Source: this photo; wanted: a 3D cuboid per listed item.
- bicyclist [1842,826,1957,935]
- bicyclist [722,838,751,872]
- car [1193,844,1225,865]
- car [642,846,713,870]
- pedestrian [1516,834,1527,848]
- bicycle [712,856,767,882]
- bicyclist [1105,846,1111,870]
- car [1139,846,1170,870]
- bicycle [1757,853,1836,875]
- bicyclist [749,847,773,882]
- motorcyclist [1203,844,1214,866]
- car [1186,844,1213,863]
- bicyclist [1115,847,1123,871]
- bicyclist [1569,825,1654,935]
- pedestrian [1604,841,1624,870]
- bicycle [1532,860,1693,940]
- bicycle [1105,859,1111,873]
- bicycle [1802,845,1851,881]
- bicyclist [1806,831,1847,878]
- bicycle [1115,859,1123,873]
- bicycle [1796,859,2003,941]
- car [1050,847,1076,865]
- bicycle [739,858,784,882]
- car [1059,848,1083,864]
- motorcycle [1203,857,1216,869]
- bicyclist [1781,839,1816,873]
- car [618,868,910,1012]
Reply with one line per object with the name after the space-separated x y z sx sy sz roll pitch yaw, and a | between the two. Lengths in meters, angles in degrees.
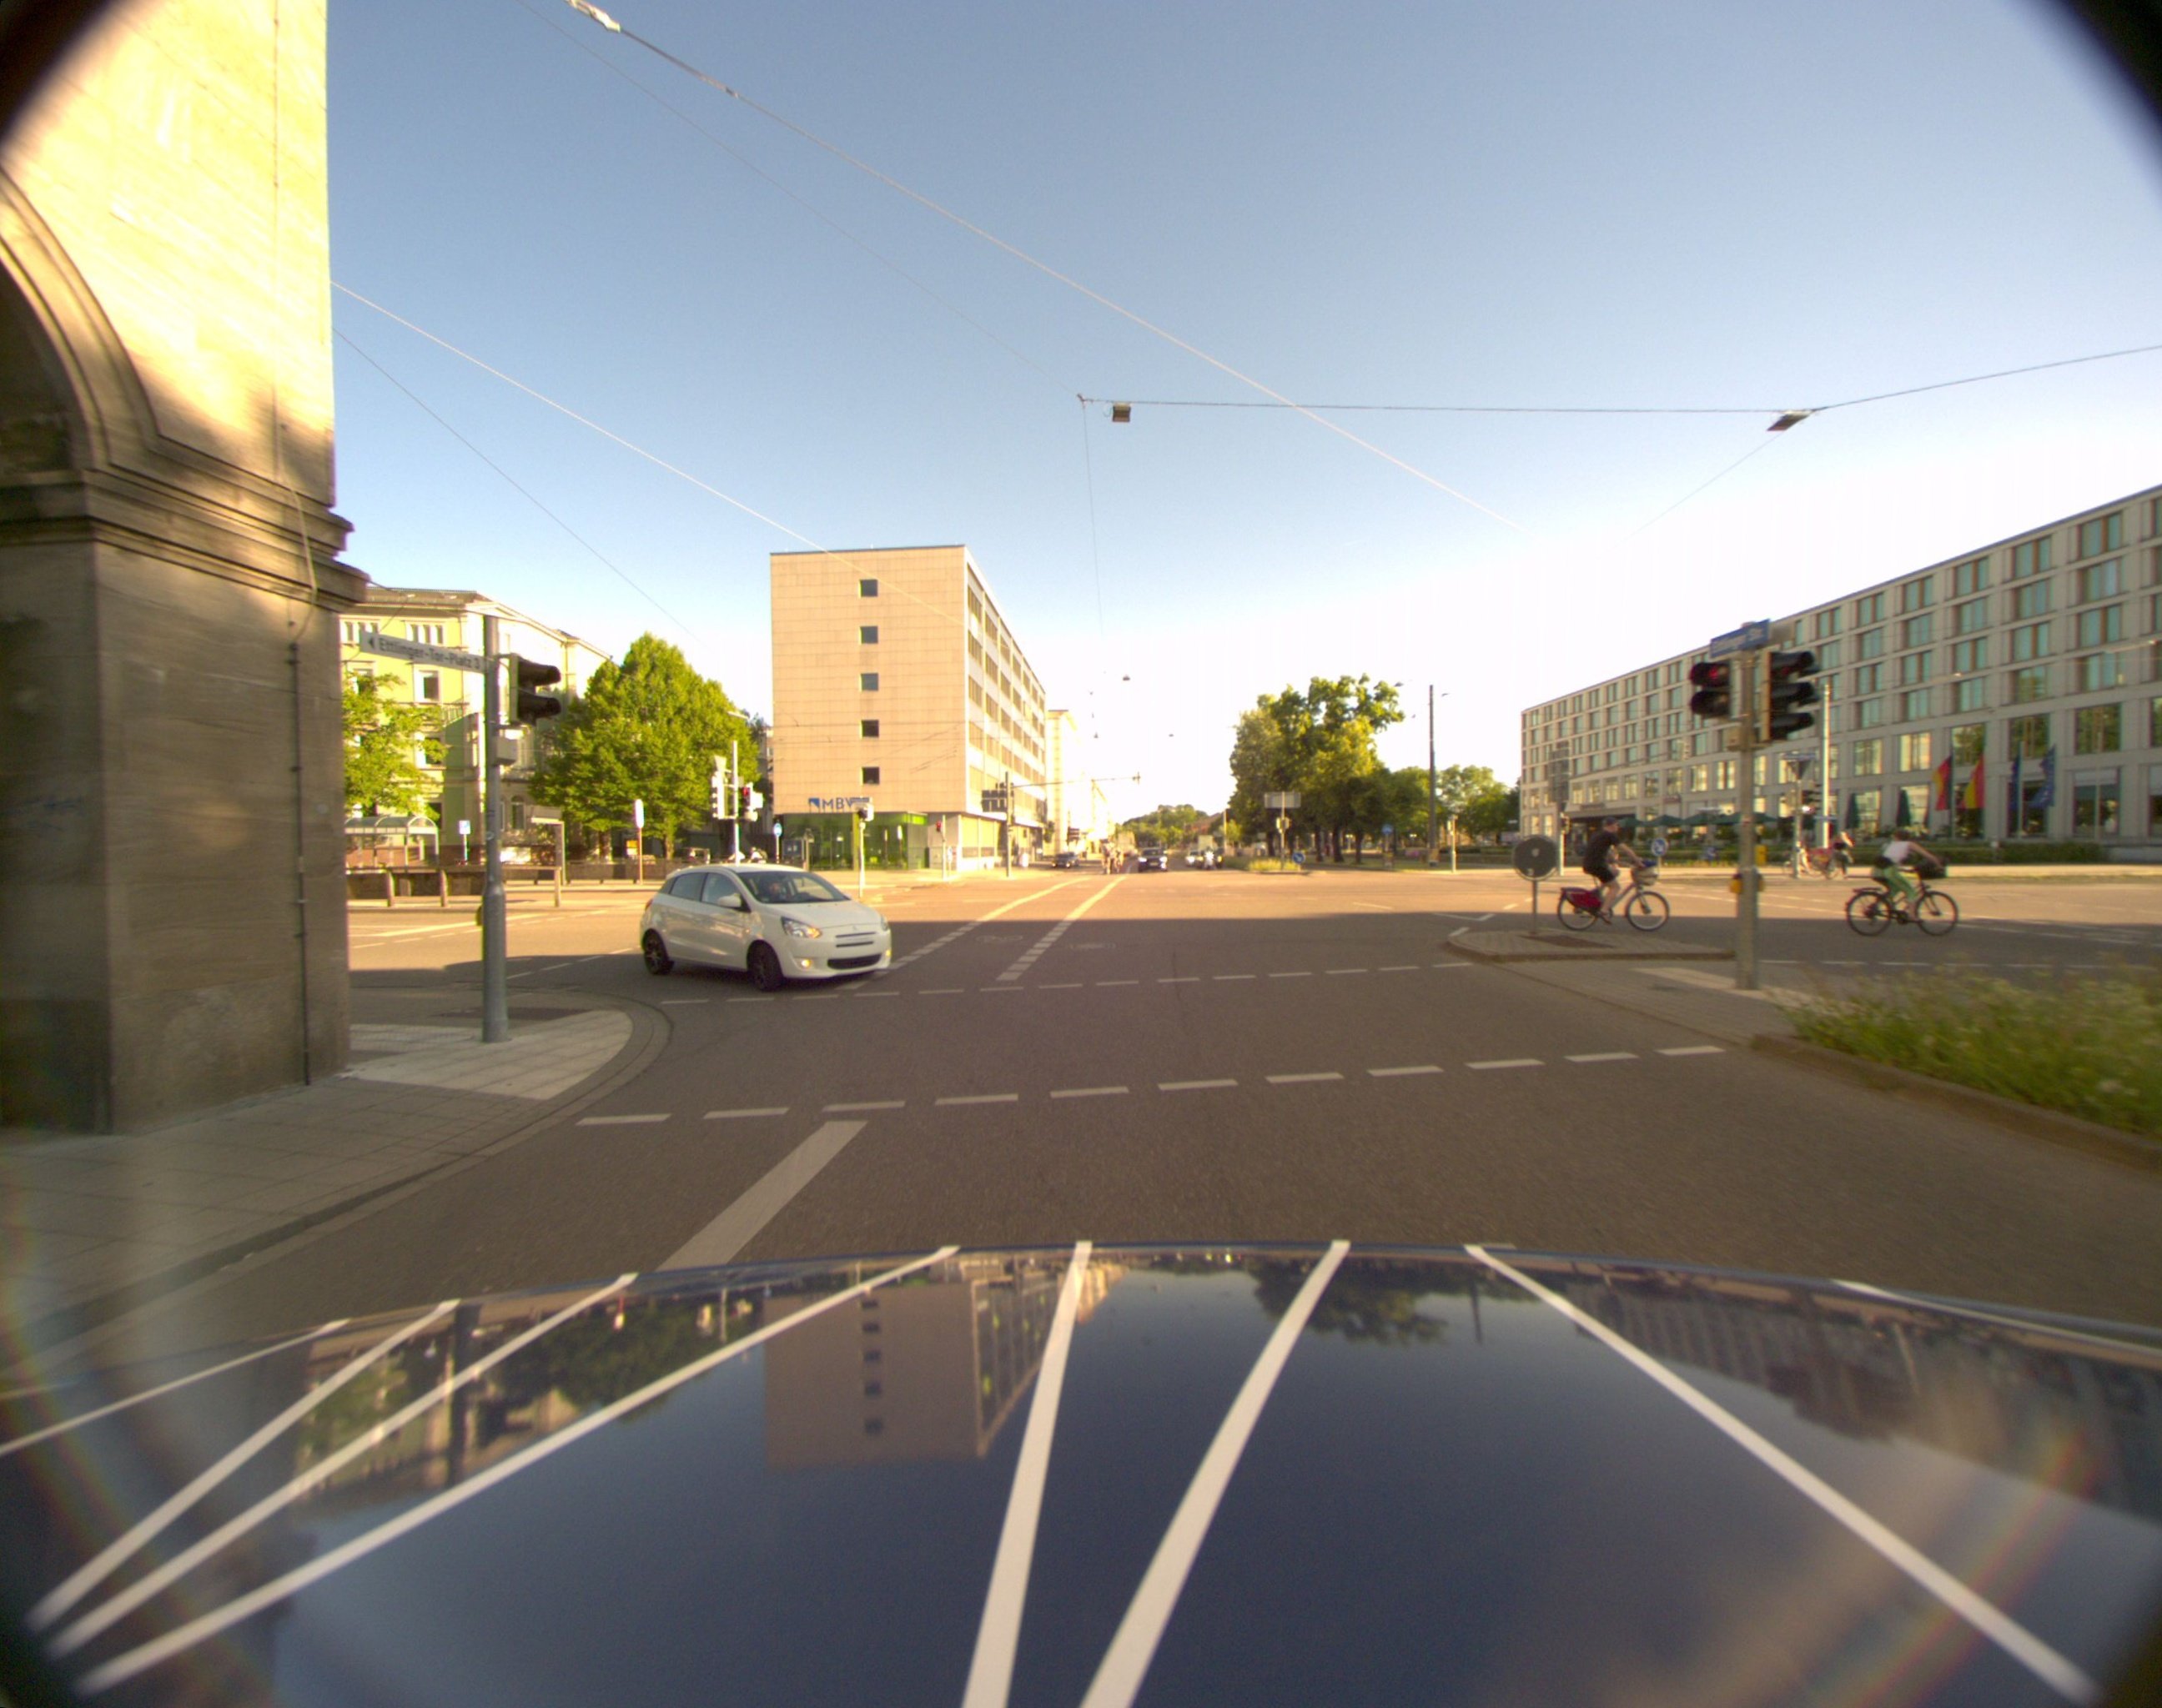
13.020 0.403 12.118 0.924 1.681 0.775 0 3 4 | bicyclist
-15.870 0.049 34.999 0.886 1.499 0.909 5 5 41 | bicyclist
9.568 0.009 57.274 1.998 1.564 4.550 -1 1 5 | car
-28.060 0.265 52.918 3.997 1.576 1.740 0 3 0 | car
47.319 -1.357 81.652 0.784 1.517 0.762 0 1 5 | pedestrian
-15.794 0.667 35.184 0.881 1.061 2.187 4 4 40 | bicycle
1.802 0.287 50.218 0.358 1.567 0.536 0 1 4 | bicyclist
4.944 0.218 51.555 1.998 1.564 4.550 -1 1 5 | car
29.717 0.399 31.585 0.845 0.846 2.329 -1 1 -42 | bicycle
-15.637 0.504 37.130 0.948 1.682 0.762 -1 5 -39 | bicyclist
8.681 0.068 51.602 0.606 1.438 0.736 -1 1 1 | motorcyclist
10.241 -0.102 65.774 1.998 1.564 4.550 0 1 5 | car
2.520 0.301 50.313 0.453 1.567 0.536 0 1 4 | bicyclist
8.637 0.396 12.406 0.838 1.734 0.754 0 3 4 | bicyclist
28.078 0.072 40.056 0.623 1.517 0.603 -1 1 0 | pedestrian
8.633 0.739 12.412 2.018 1.233 0.778 0 3 4 | bicycle
1.807 0.774 50.232 0.351 0.869 1.385 0 1 4 | bicycle
26.282 0.291 26.813 0.844 1.223 2.018 0 1 34 | bicycle
26.253 0.005 26.774 0.850 1.610 0.975 0 1 34 | bicyclist
2.527 0.767 50.387 0.452 0.869 1.385 0 1 4 | bicycle
12.989 0.720 12.124 2.310 1.233 0.778 -1 3 4 | bicycle
-1.669 0.172 71.451 1.998 1.564 4.550 0 1 5 | car
-15.612 0.750 37.152 1.911 1.061 0.753 -1 4 -38 | bicycle
-1.020 0.182 77.487 1.998 1.564 4.550 0 1 5 | car
8.681 0.600 51.456 0.623 0.791 1.309 -1 1 0 | motorcycle
29.773 0.078 31.519 0.828 1.354 0.970 -1 1 -42 | bicyclist
-4.226 0.966 9.990 3.754 1.456 1.683 0 2 33 | car
